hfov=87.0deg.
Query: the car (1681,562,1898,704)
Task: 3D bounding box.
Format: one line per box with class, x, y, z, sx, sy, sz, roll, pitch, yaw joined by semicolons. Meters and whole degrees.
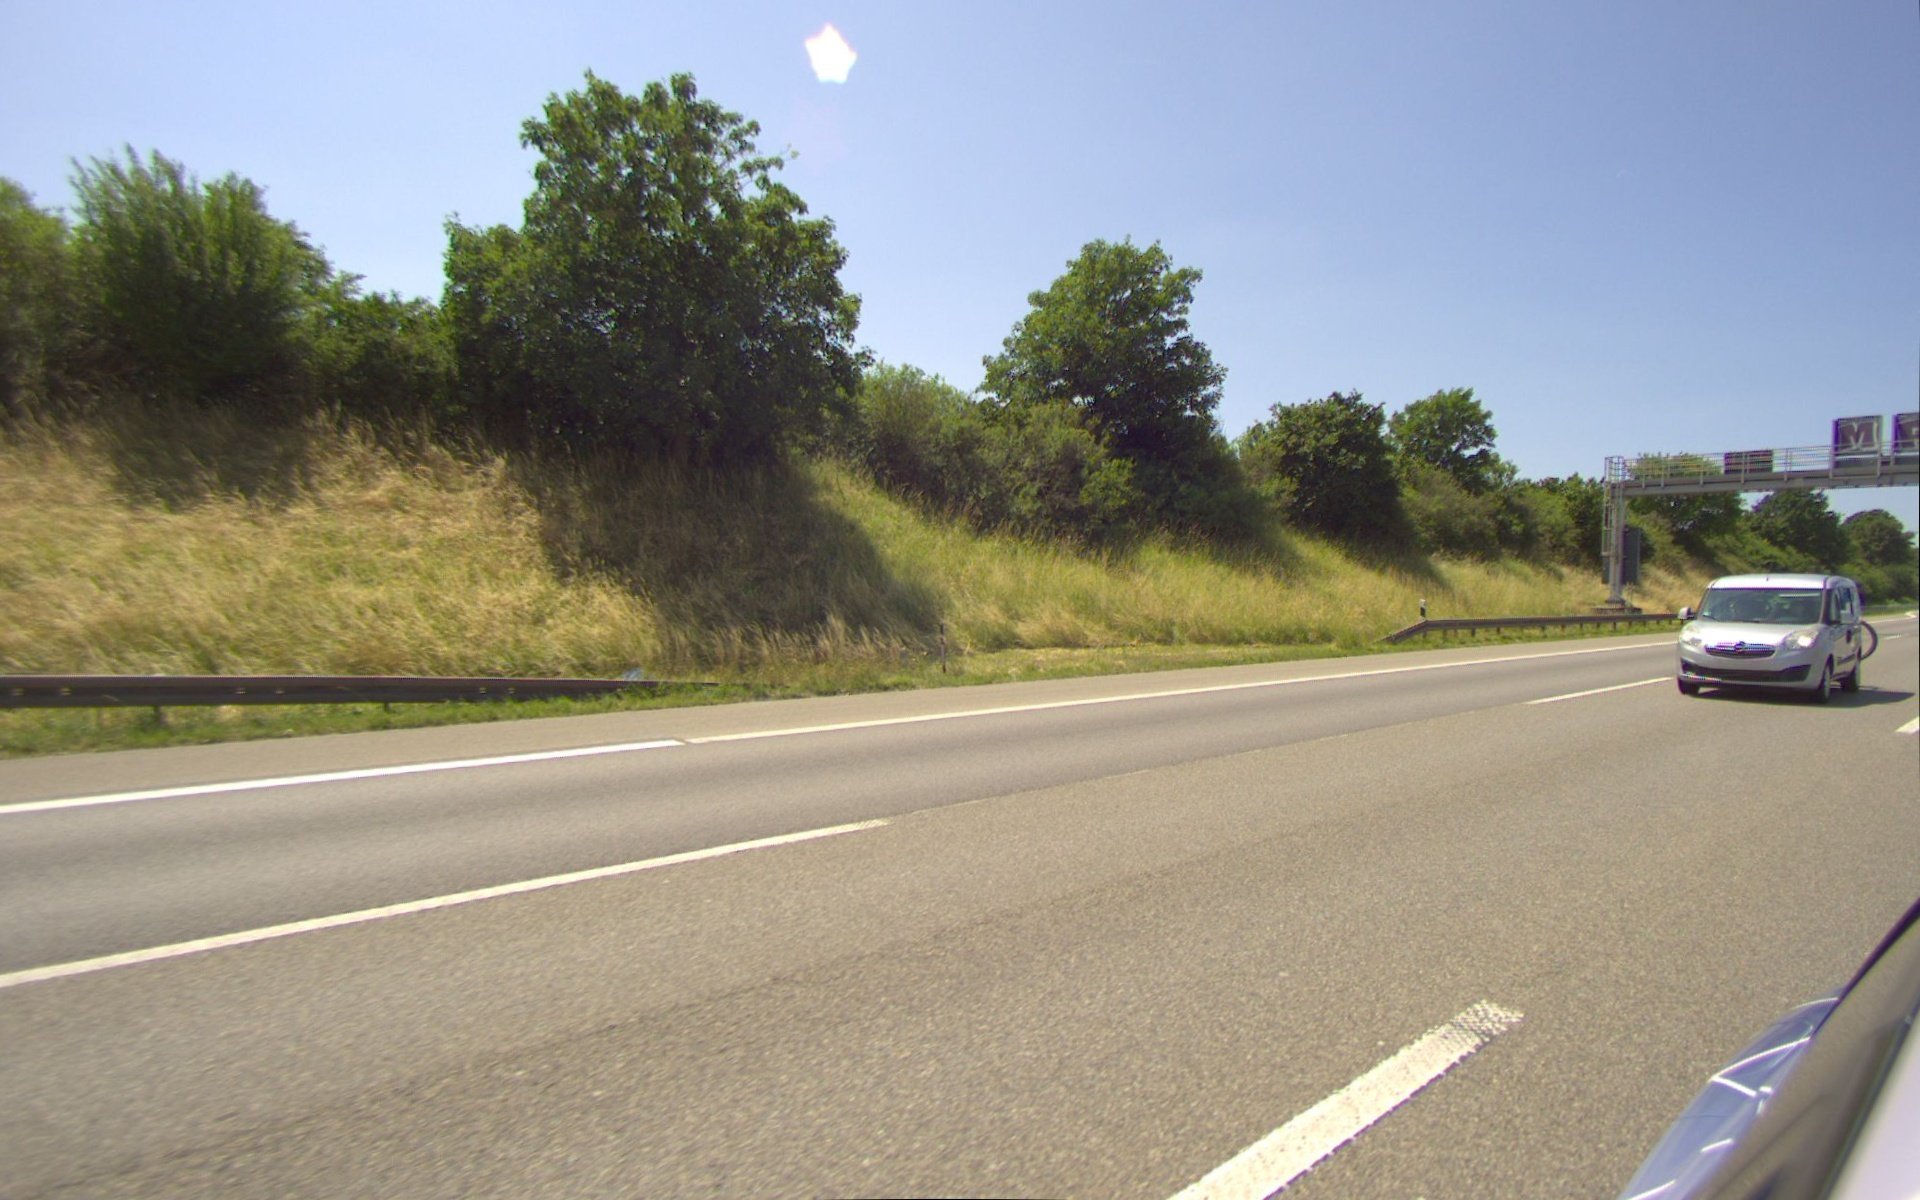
car;13.057;0.421;15.793;5.220;1.870;1.810;0;1;-42
